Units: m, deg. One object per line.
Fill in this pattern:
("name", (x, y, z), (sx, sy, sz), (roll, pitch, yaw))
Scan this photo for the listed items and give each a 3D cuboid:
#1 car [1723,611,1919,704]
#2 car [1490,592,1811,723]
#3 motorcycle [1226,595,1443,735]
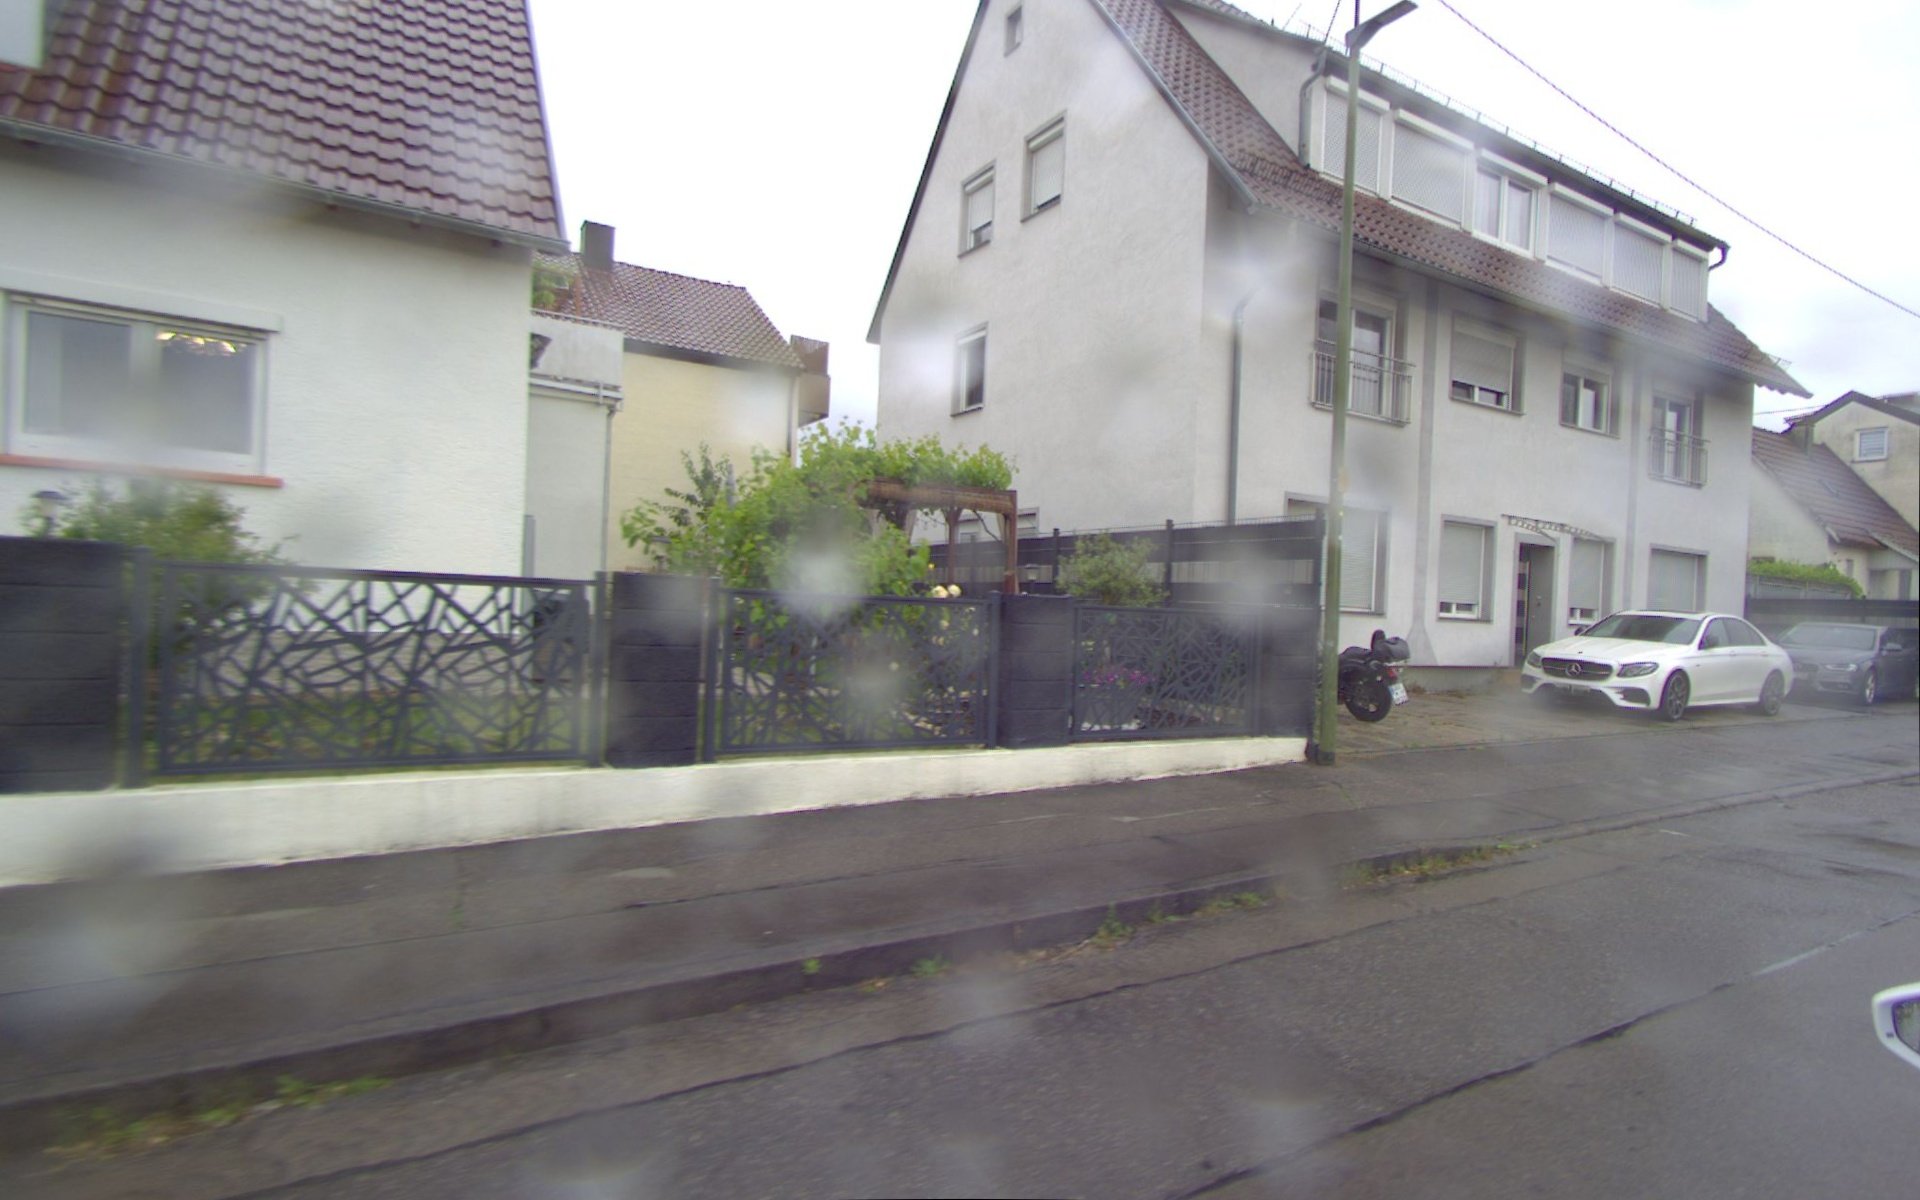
("car", (16.110, 1.000, 18.553), (4.523, 1.387, 1.815), (1, 4, -35))
("car", (10.216, 0.782, 14.776), (4.839, 1.530, 1.983), (2, 3, -31))
("motorcycle", (4.199, 0.673, 11.505), (0.727, 1.290, 2.351), (1, 3, -29))
